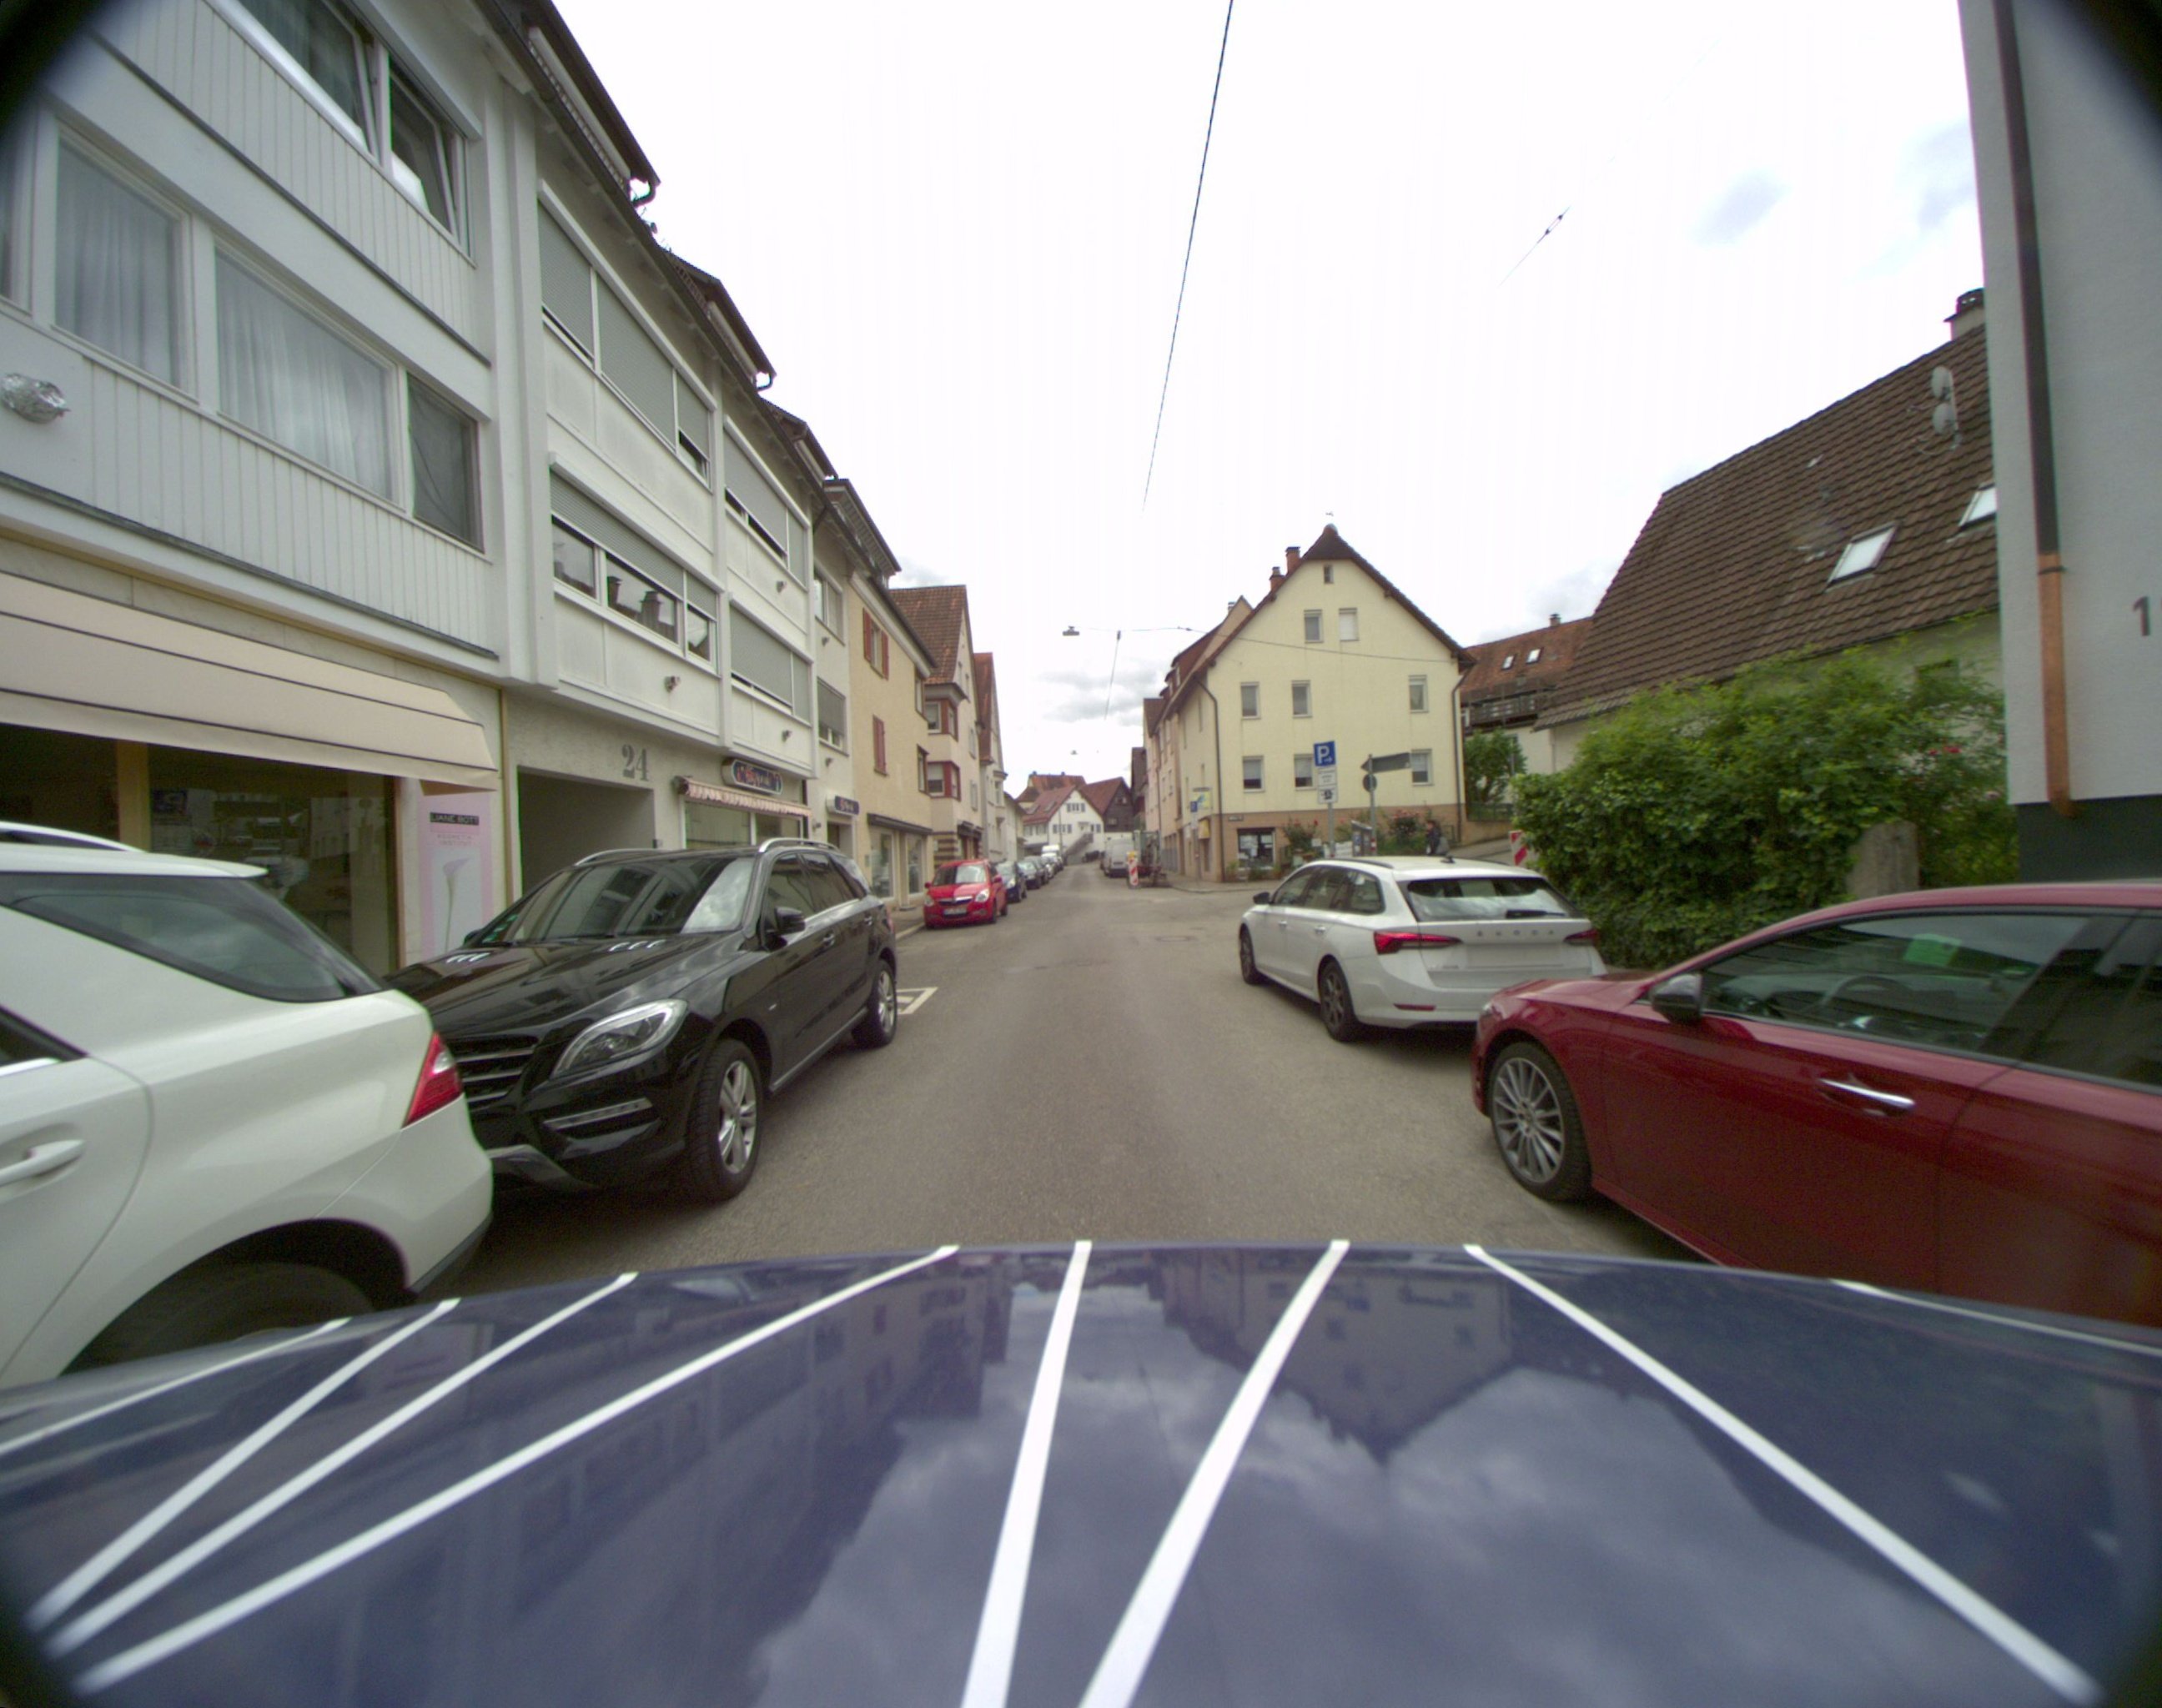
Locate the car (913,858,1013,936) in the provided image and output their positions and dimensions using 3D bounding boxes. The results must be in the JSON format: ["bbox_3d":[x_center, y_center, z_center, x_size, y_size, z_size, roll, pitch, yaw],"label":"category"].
[{"bbox_3d":[-2.823,0.983,18.982,1.674,1.519,3.988,-5,1,1],"label":"car"}]

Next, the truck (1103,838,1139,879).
[{"bbox_3d":[2.498,0.232,48.293,1.784,2.378,5.484,-3,1,-1],"label":"truck"}]

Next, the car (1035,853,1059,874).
[{"bbox_3d":[-2.717,0.768,61.255,1.606,1.464,3.550,-5,1,0],"label":"car"}]

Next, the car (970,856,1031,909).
[{"bbox_3d":[-2.789,0.939,26.943,1.606,1.519,3.988,-5,1,0],"label":"car"}]

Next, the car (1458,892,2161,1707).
[{"bbox_3d":[2.737,0.930,1.695,1.756,1.441,4.066,0,1,0],"label":"car"}]

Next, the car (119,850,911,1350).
[{"bbox_3d":[-2.615,0.922,5.047,1.900,1.779,4.343,-3,1,0],"label":"car"}]

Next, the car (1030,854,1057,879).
[{"bbox_3d":[-2.536,0.812,52.130,1.606,1.464,3.550,-5,1,0],"label":"car"}]

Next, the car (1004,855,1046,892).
[{"bbox_3d":[-2.657,0.897,36.596,1.606,1.464,3.988,-5,1,0],"label":"car"}]

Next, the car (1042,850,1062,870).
[{"bbox_3d":[-2.669,0.527,70.826,1.606,1.716,3.550,-5,1,0],"label":"car"}]

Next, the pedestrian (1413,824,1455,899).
[{"bbox_3d":[7.841,0.151,16.906,0.548,1.624,0.626,-4,4,-10],"label":"pedestrian"}]

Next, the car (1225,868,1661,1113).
[{"bbox_3d":[2.730,0.902,7.010,1.756,1.423,4.348,0,1,-3],"label":"car"}]

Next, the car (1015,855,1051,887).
[{"bbox_3d":[-2.599,0.884,41.509,1.606,1.464,3.550,-5,1,0],"label":"car"}]
